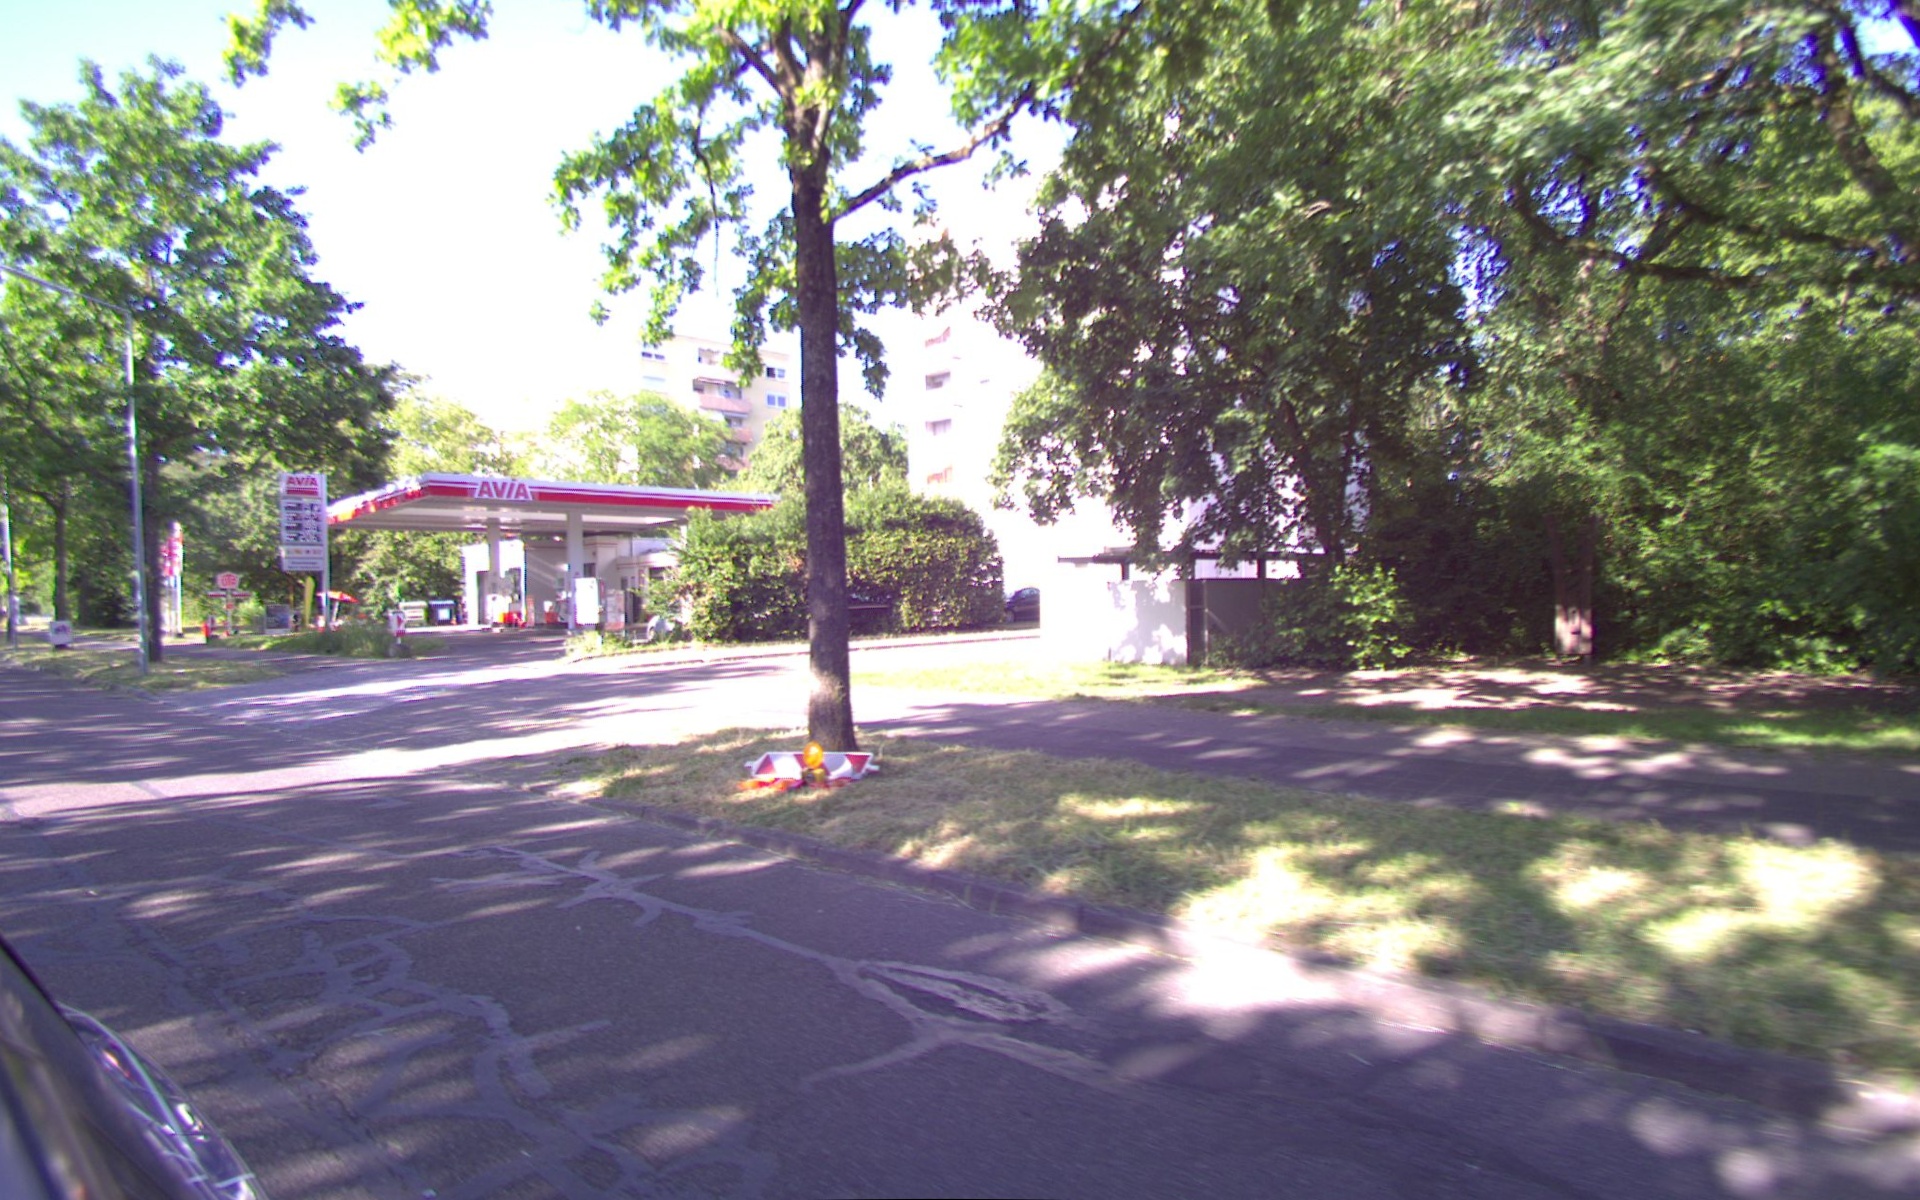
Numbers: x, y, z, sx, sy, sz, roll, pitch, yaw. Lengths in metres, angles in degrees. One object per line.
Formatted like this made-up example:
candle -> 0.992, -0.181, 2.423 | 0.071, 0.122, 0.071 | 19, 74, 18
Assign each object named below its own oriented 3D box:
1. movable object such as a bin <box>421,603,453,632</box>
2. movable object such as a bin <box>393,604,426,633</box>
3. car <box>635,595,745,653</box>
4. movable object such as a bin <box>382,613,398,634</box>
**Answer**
movable object such as a bin -> -29.921, 0.997, 57.902 | 1.163, 1.553, 1.290 | -1, 1, 42
movable object such as a bin -> -30.899, 1.042, 56.795 | 1.267, 1.553, 1.290 | -1, 0, 42
car -> -7.549, 0.650, 28.106 | 1.527, 1.432, 3.492 | -4, 2, -41
movable object such as a bin -> -31.610, 1.300, 56.117 | 0.768, 1.094, 0.562 | -1, 0, 42
